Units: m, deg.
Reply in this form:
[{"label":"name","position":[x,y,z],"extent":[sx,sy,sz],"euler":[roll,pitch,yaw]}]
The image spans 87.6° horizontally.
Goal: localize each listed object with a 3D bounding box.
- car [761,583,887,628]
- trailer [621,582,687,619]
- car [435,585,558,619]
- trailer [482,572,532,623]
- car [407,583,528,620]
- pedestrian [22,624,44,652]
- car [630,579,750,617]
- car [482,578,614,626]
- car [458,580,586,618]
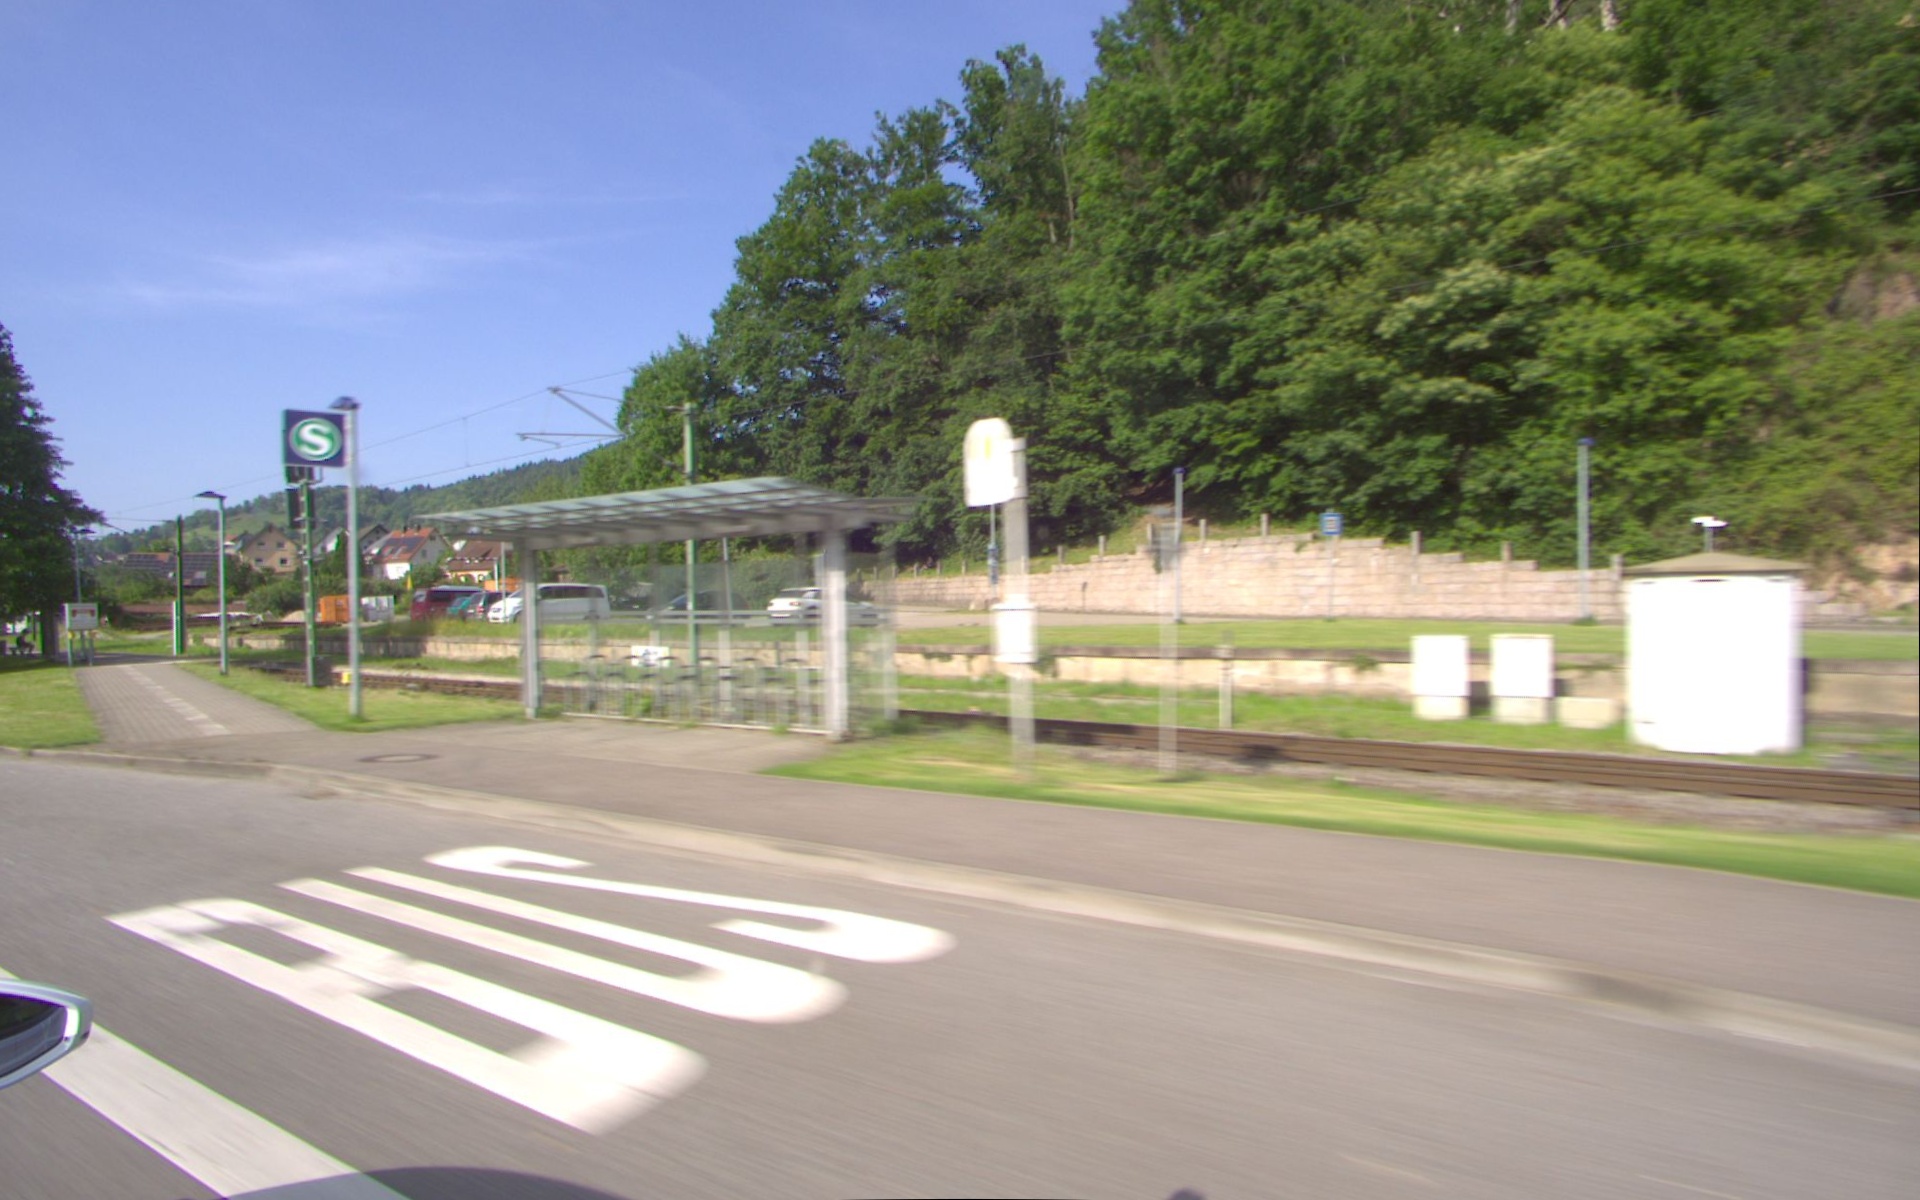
[{"label":"car","position":[-4.464,0.175,33.408],"extent":[1.787,1.416,4.080],"euler":[-1,0,38]},{"label":"trailer","position":[-19.575,0.013,64.020],"extent":[3.654,2.219,1.807],"euler":[-2,1,-33]},{"label":"car","position":[-21.657,0.095,46.961],"extent":[1.872,1.488,4.931],"euler":[0,0,38]},{"label":"trailer","position":[-37.769,-0.175,83.354],"extent":[2.578,3.946,7.686],"euler":[-3,1,-32]},{"label":"car","position":[-23.852,0.083,48.634],"extent":[1.912,1.713,4.931],"euler":[0,0,38]},{"label":"pedestrian","position":[-40.412,1.653,43.650],"extent":[0.631,1.177,0.719],"euler":[-3,2,-43]},{"label":"car","position":[-10.278,-0.071,38.377],"extent":[1.809,1.361,4.248],"euler":[-1,0,38]},{"label":"car","position":[-17.927,0.079,43.768],"extent":[2.115,1.969,4.931],"euler":[0,0,38]},{"label":"car","position":[-19.737,-0.038,45.301],"extent":[2.115,1.608,4.931],"euler":[-1,0,38]}]
